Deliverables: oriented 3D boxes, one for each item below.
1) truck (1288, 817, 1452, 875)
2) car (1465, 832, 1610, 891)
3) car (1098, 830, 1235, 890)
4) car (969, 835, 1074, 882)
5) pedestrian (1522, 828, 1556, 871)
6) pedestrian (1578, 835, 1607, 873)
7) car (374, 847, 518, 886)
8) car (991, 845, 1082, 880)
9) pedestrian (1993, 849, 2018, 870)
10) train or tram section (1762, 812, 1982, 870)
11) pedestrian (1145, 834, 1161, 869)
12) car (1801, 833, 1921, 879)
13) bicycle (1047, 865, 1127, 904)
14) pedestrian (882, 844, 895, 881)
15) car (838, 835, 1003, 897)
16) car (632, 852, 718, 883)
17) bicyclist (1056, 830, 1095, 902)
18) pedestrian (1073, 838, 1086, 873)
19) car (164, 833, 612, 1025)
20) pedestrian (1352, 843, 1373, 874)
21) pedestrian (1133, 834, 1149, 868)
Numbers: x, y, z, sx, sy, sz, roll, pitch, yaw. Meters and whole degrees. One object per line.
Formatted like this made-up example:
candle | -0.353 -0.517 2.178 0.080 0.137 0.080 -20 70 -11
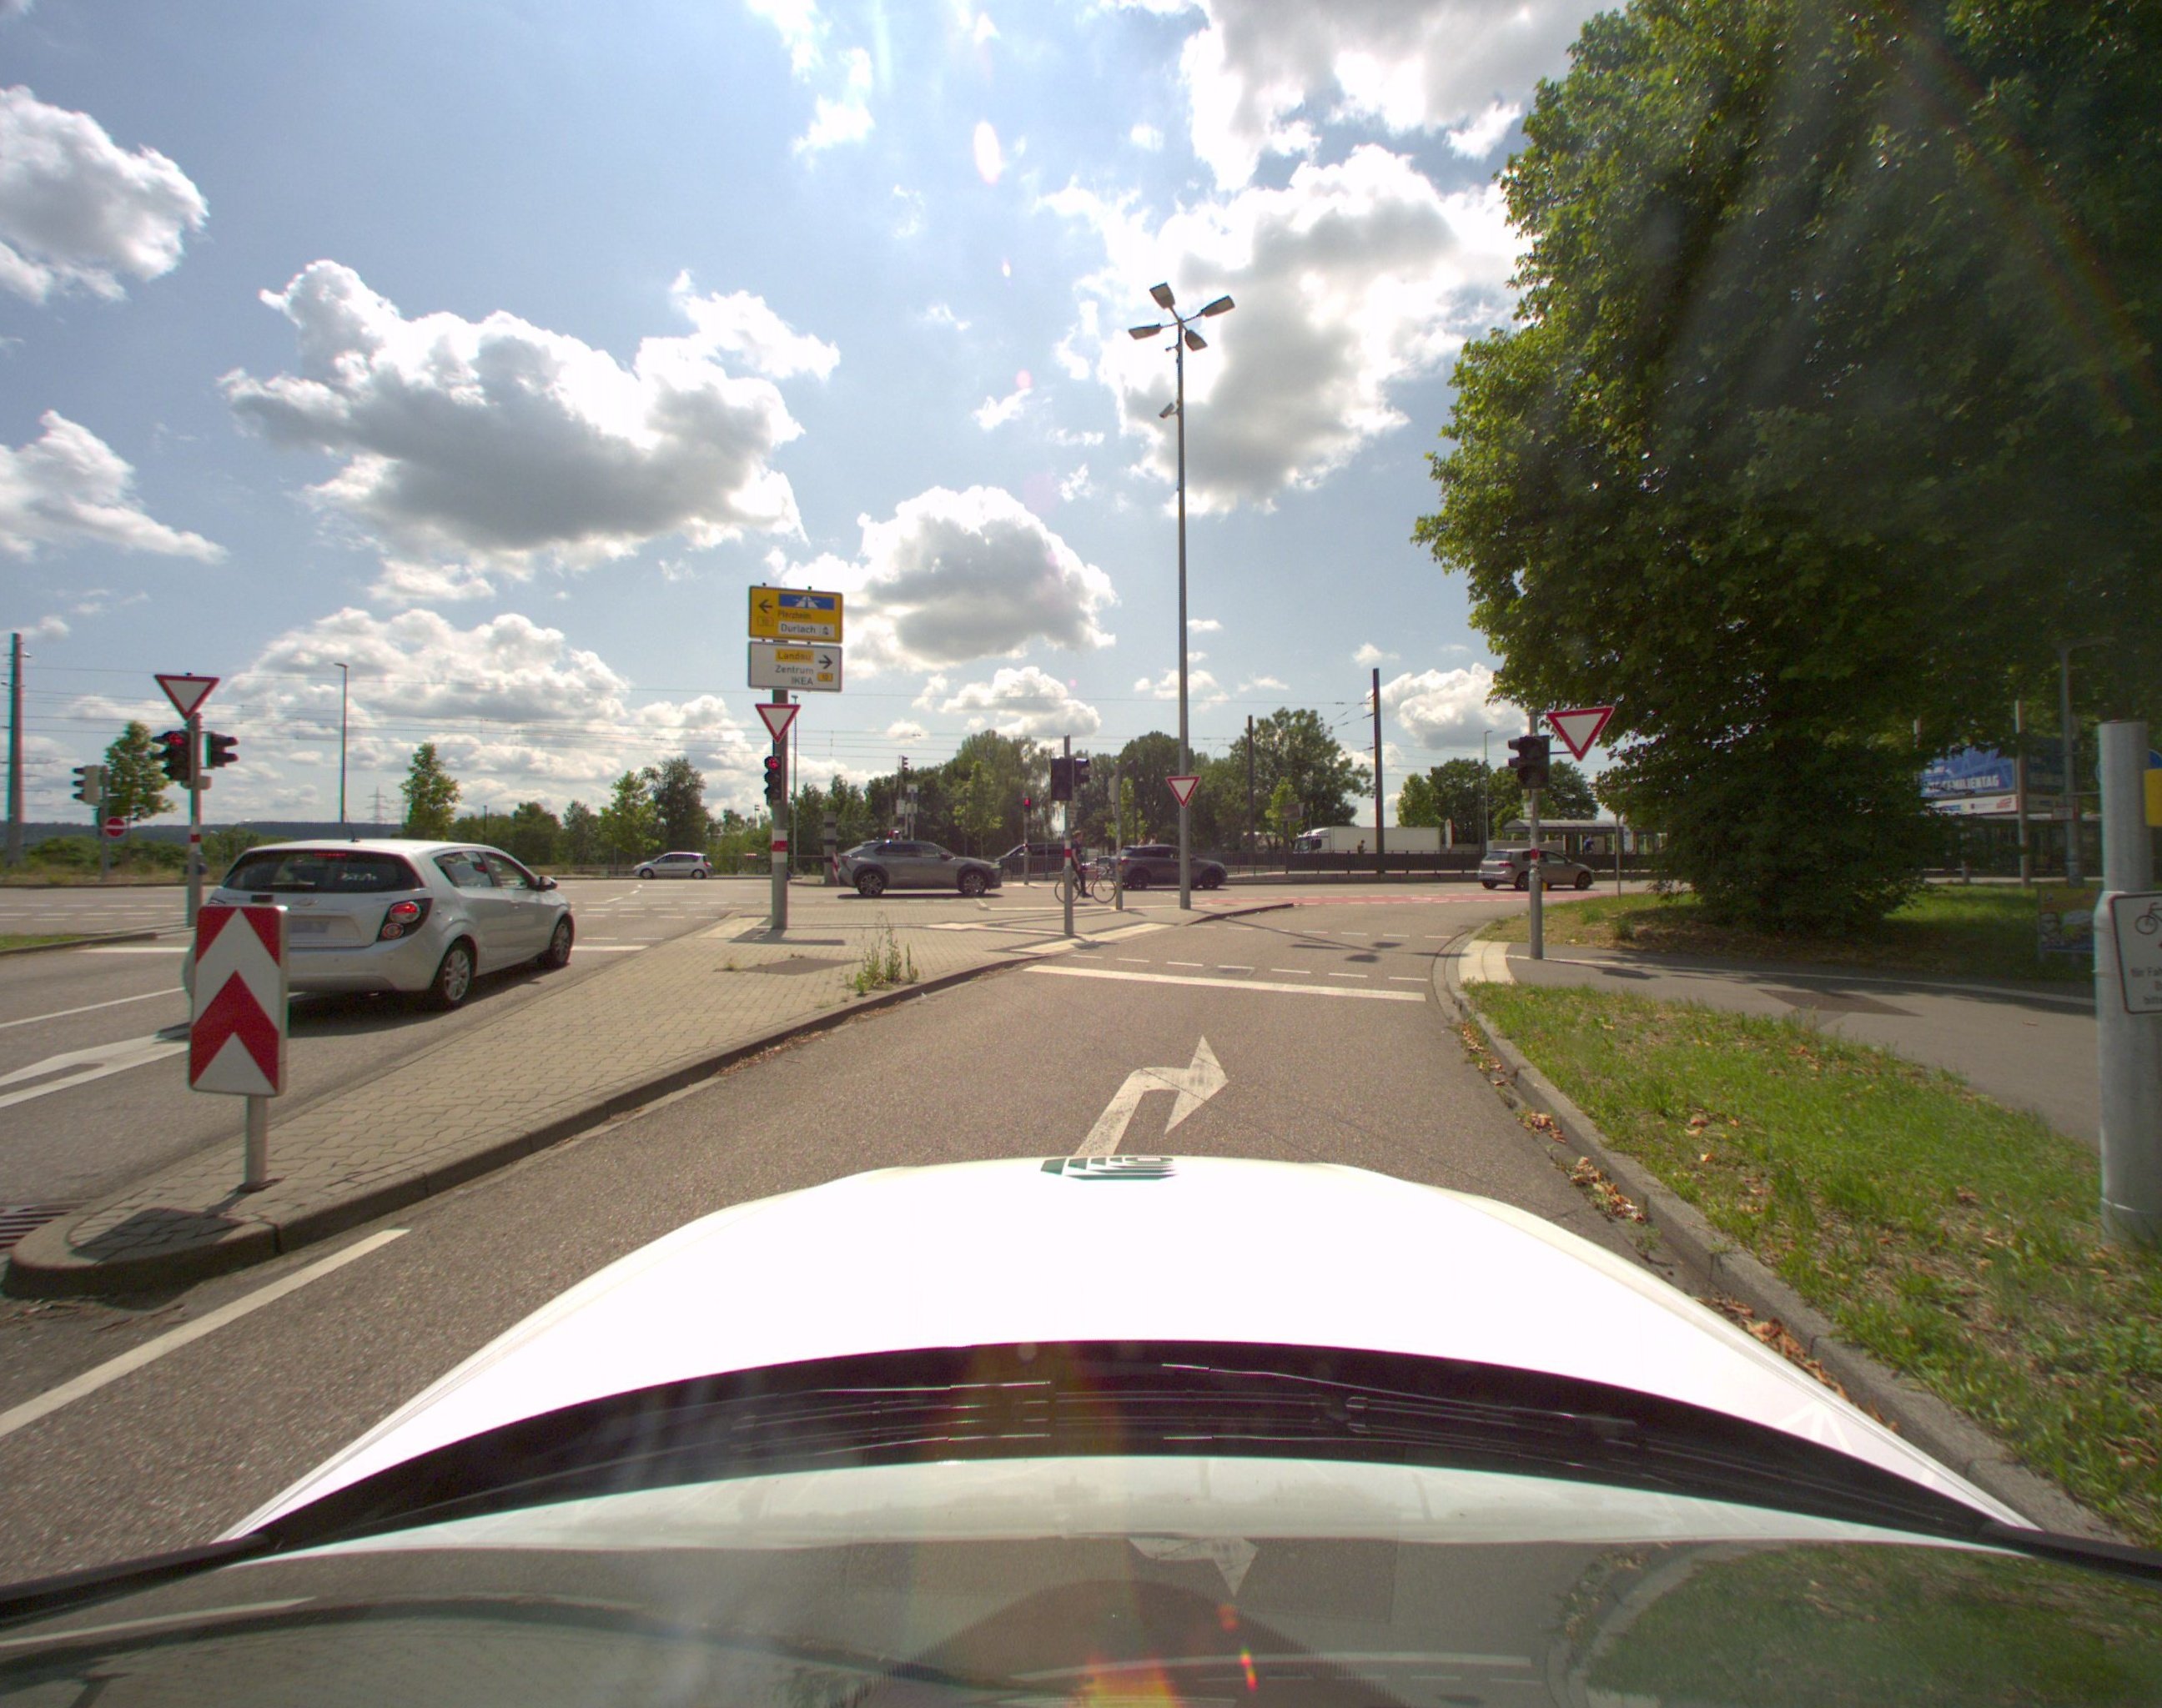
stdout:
truck | 21.789 -0.596 61.380 11.970 4.104 2.939 0 0 -13
car | 16.305 0.240 29.147 4.356 1.989 1.990 -1 0 -15
car | 2.957 0.199 28.521 4.355 1.989 1.990 0 0 -15
car | -2.444 0.164 33.167 3.995 1.783 1.900 -1 0 -16
pedestrian | 21.064 -0.193 37.454 0.993 1.939 0.871 -1 0 -15
pedestrian | 23.756 0.013 37.847 0.928 1.755 0.732 0 0 -15
car | -31.027 0.585 39.969 5.126 1.808 1.990 -1 0 -15
car | -2.461 0.433 44.589 4.659 1.820 1.990 -1 0 -15
pedestrian | 51.758 0.292 45.589 0.641 1.190 0.692 0 1 -15
train or tram section | 47.041 -0.703 48.335 14.089 3.186 3.029 0 -1 -18
pedestrian | 3.695 -0.125 41.706 0.676 1.748 0.634 0 1 -12
car | 35.634 0.071 37.242 4.356 1.989 1.990 -1 0 -15
bicycle | 0.162 0.792 21.572 2.020 0.999 0.619 0 1 -15
pedestrian | -9.343 0.392 39.540 0.611 1.769 0.669 0 0 -12
car | -4.658 0.358 23.578 4.514 1.674 1.893 1 0 -16
car | -23.614 0.791 47.524 4.324 1.659 1.800 0 -5 -22
bicyclist | -0.150 0.308 21.496 0.922 1.846 0.608 0 0 -15
pedestrian | -0.062 0.053 40.713 0.523 1.721 0.728 -1 0 -10
car | -6.519 0.581 8.338 1.896 1.470 3.816 1 0 -13
pedestrian | 16.347 0.251 47.296 0.928 1.807 0.732 0 0 -15
pedestrian | 3.120 -0.162 42.512 0.706 1.721 0.598 -1 0 -12
